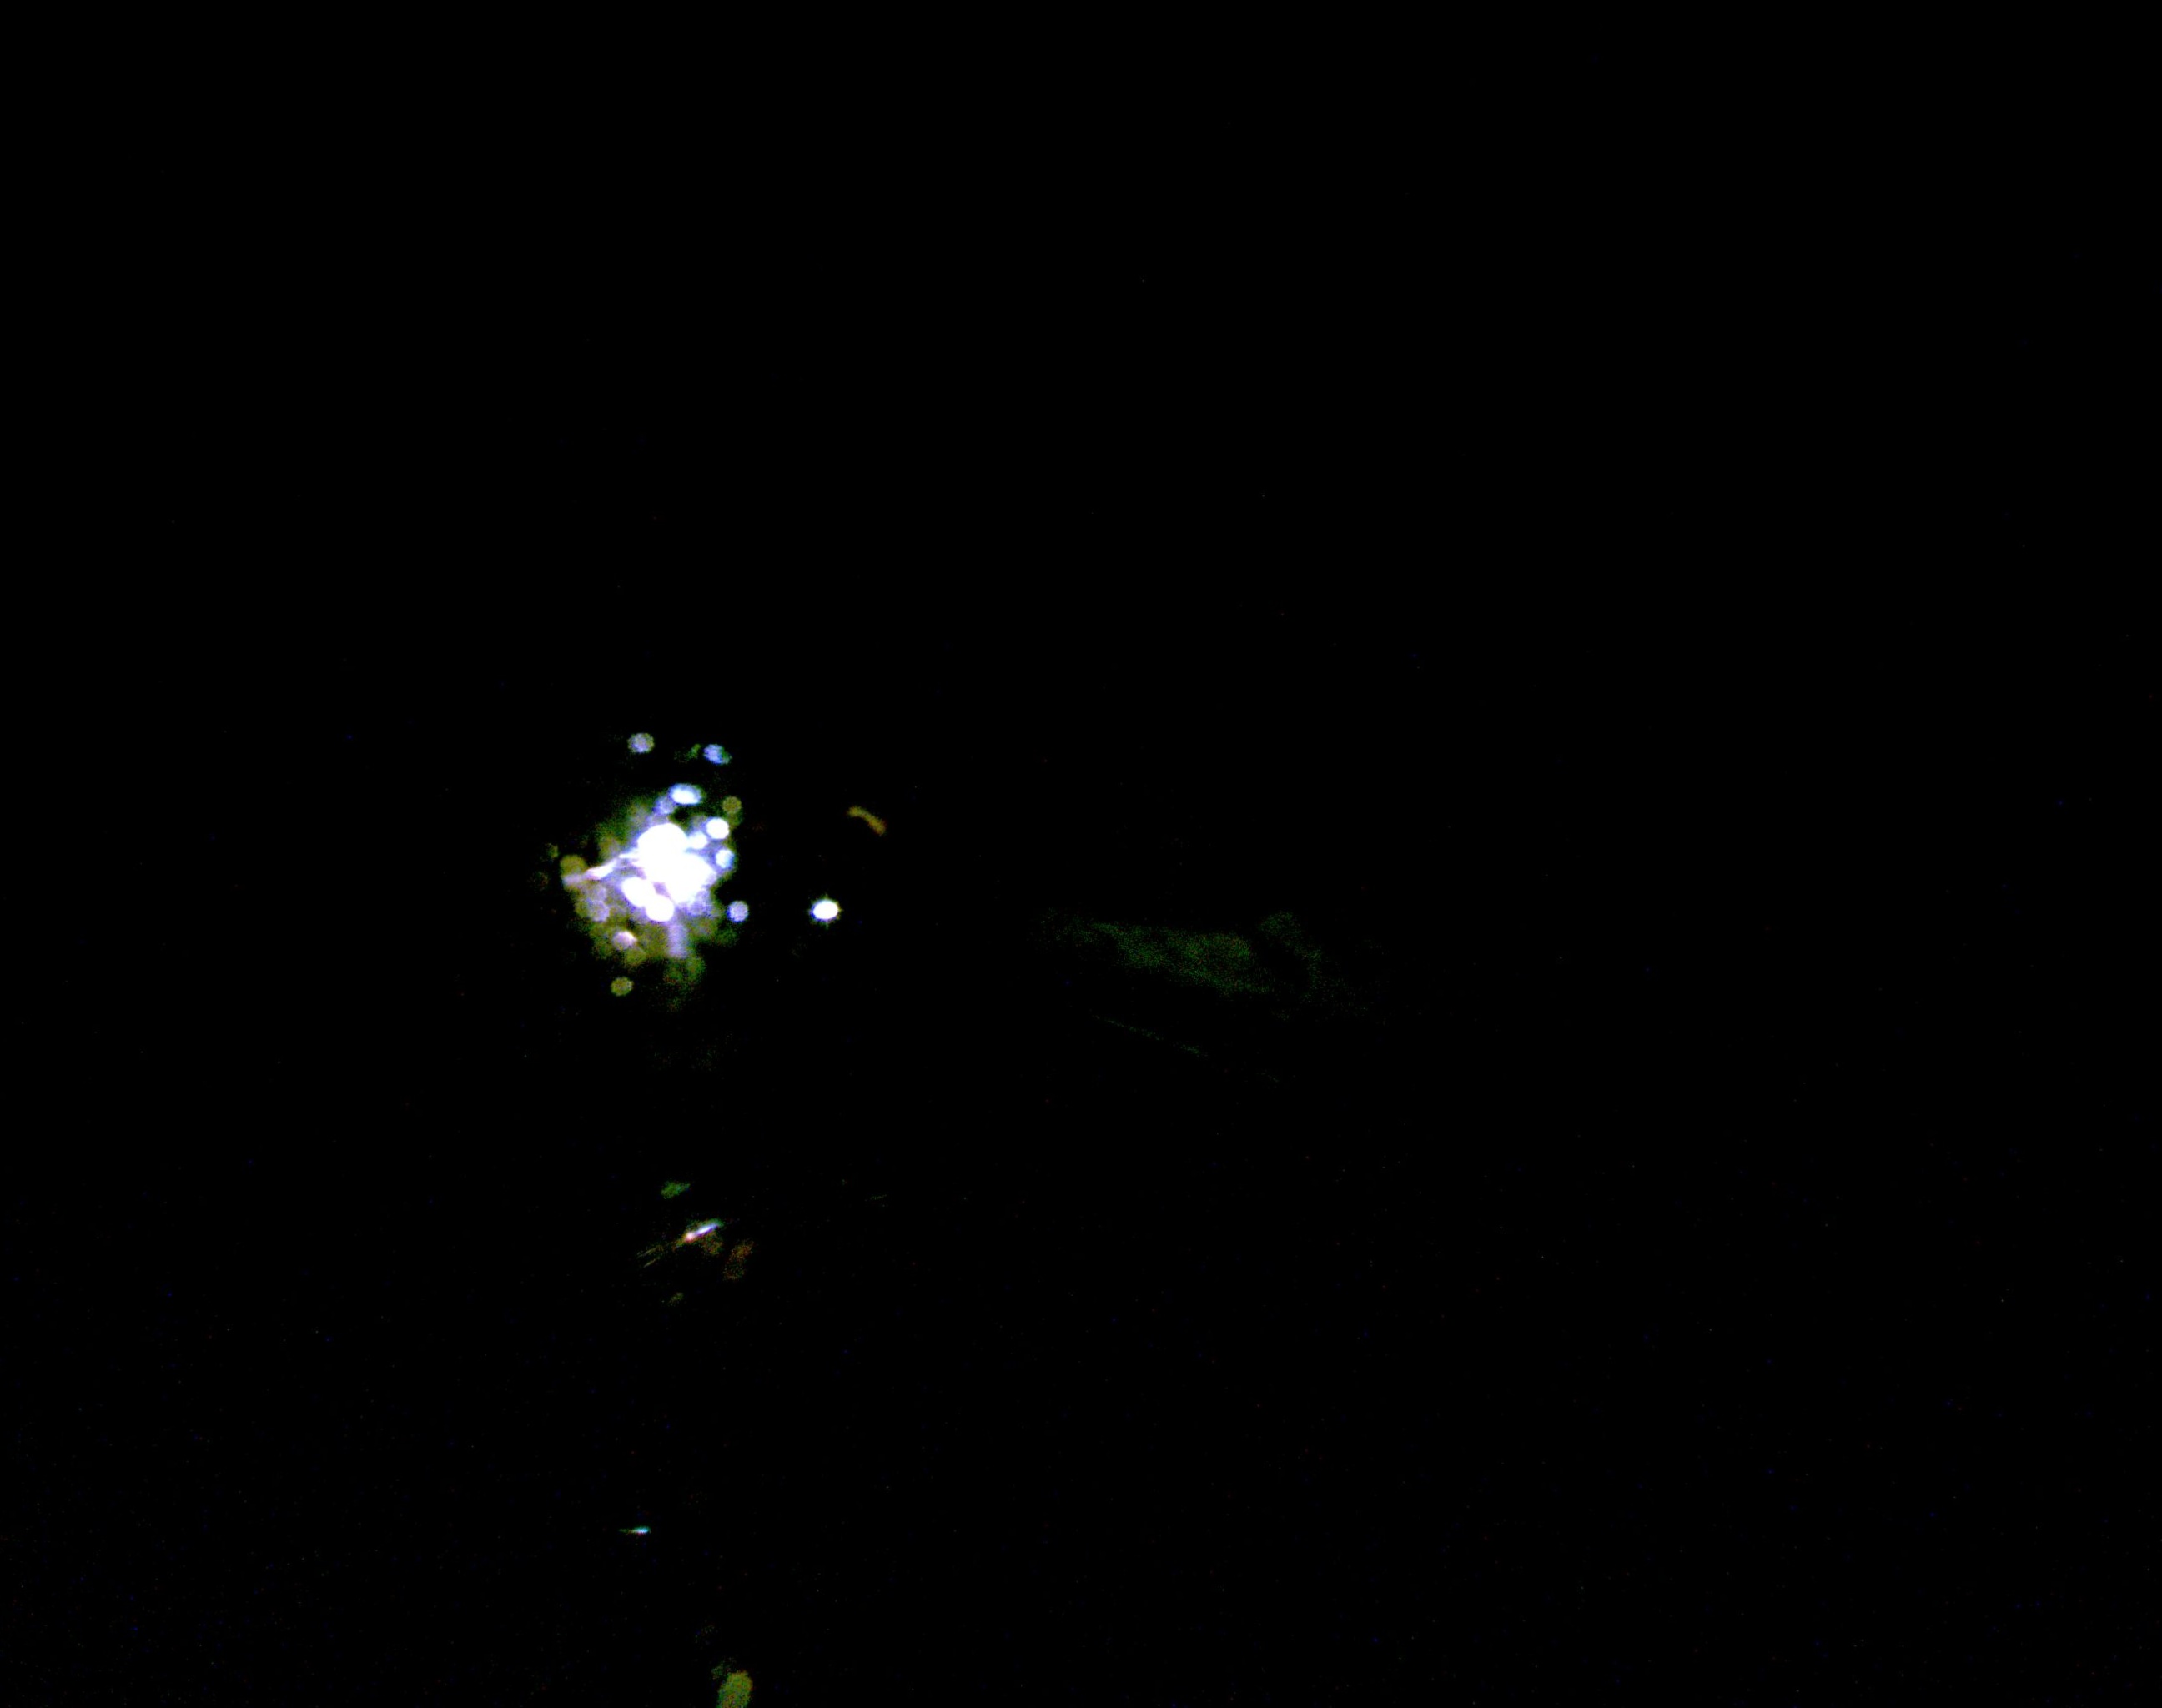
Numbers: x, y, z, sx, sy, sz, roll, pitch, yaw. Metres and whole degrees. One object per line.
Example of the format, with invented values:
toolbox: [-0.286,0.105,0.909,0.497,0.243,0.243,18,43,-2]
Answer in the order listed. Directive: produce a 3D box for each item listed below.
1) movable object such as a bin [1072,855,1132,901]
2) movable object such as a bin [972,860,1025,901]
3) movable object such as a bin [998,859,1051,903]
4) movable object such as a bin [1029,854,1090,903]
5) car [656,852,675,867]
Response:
movable object such as a bin: [0.655,0.725,24.984,1.301,1.299,1.259,-4,-1,35]
movable object such as a bin: [-2.774,0.886,27.445,1.306,1.309,1.183,-2,1,27]
movable object such as a bin: [-1.834,0.869,26.466,1.217,1.325,1.160,-2,1,29]
movable object such as a bin: [-0.687,0.771,25.789,1.373,1.413,1.259,-4,-1,35]
car: [-50.591,0.617,99.242,1.899,1.671,3.966,-3,2,-26]
